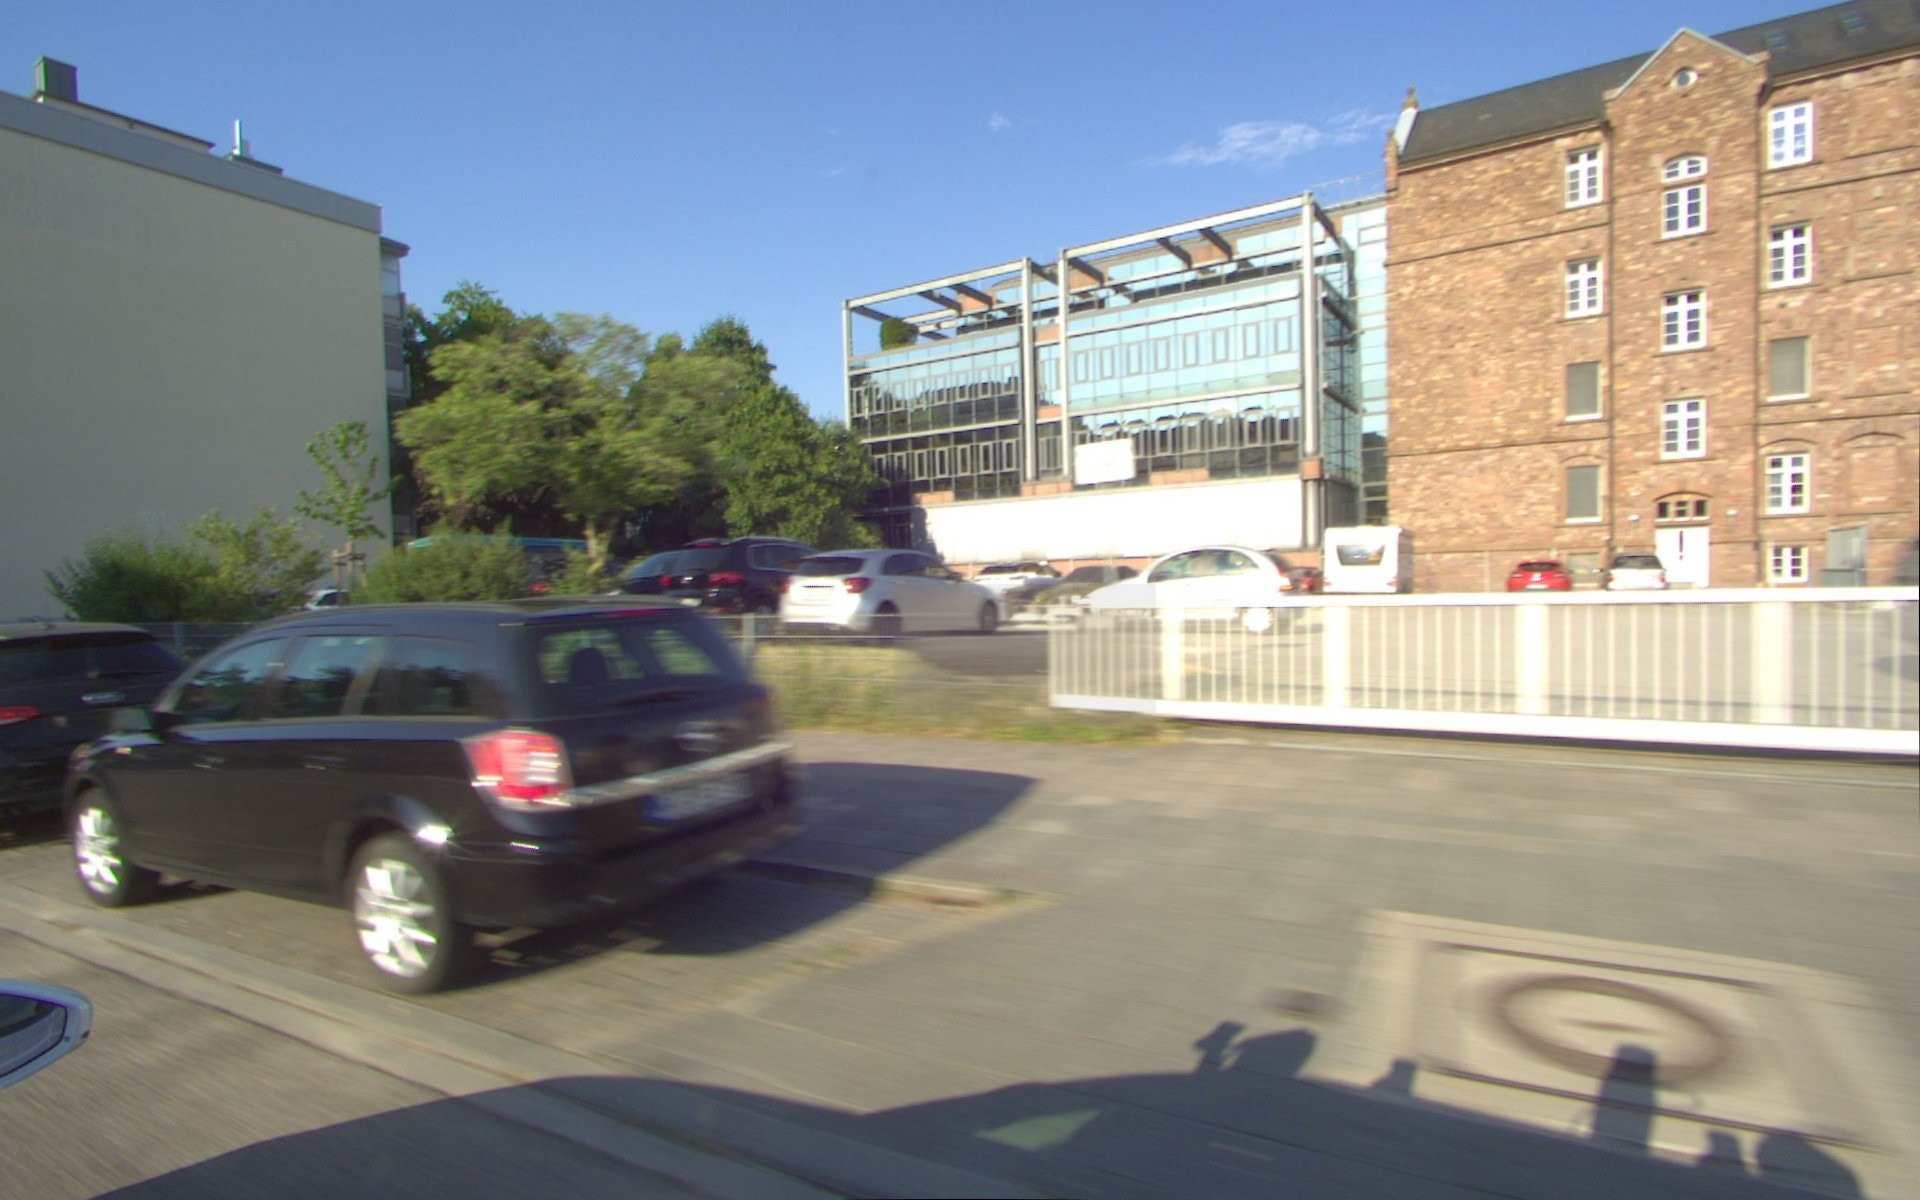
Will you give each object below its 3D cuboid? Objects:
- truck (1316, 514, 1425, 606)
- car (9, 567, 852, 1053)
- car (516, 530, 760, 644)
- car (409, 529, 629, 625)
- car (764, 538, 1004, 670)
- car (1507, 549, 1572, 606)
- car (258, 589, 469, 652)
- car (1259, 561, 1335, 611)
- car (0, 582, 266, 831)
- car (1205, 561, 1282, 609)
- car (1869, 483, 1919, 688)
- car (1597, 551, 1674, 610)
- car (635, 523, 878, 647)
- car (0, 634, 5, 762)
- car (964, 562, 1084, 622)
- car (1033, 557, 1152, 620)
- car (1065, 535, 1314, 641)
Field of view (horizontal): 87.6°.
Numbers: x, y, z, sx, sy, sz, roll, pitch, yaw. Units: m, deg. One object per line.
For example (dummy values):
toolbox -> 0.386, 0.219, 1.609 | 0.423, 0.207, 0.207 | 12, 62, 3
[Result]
truck -> 14.315, -1.234, 34.633 | 2.506, 2.717, 6.414 | -2, -2, 31
car -> -2.859, 0.737, 5.122 | 4.375, 1.561, 1.738 | -2, 2, 31
car -> -5.772, -0.157, 18.392 | 1.971, 1.817, 3.982 | -2, -2, 30
car -> -9.381, -0.398, 21.605 | 1.970, 1.817, 3.984 | -2, -2, 29
car -> -1.059, 0.123, 15.951 | 1.970, 1.817, 3.984 | -2, -2, 29
car -> 18.831, -0.655, 32.502 | 1.707, 1.622, 4.470 | -2, -2, 31
car -> -15.382, 0.545, 26.091 | 1.707, 1.474, 4.470 | -2, -2, 31
car -> 12.398, -0.464, 36.693 | 1.707, 1.622, 4.470 | -2, -2, 31
car -> -7.741, 0.743, 7.933 | 4.741, 1.549, 1.898 | -2, -1, 31
car -> 10.870, -0.530, 38.208 | 1.707, 1.622, 4.470 | -2, -2, 31
car -> 9.852, -0.174, 7.691 | 3.942, 1.683, 1.651 | -2, -2, 31
car -> 21.008, -0.549, 31.276 | 1.707, 1.622, 4.470 | -2, -2, 31
car -> -3.337, -0.169, 17.135 | 1.970, 1.817, 3.984 | -2, -2, 29
car -> -11.988, 0.938, 10.492 | 3.896, 1.456, 1.649 | 1, 2, 27
car -> 1.996, -0.174, 29.907 | 1.707, 1.622, 4.470 | -2, -2, 31
car -> 3.874, -0.256, 28.576 | 1.707, 1.622, 4.470 | -2, -2, 31
car -> 4.104, -0.142, 17.962 | 3.941, 1.646, 1.991 | -2, -2, 30
